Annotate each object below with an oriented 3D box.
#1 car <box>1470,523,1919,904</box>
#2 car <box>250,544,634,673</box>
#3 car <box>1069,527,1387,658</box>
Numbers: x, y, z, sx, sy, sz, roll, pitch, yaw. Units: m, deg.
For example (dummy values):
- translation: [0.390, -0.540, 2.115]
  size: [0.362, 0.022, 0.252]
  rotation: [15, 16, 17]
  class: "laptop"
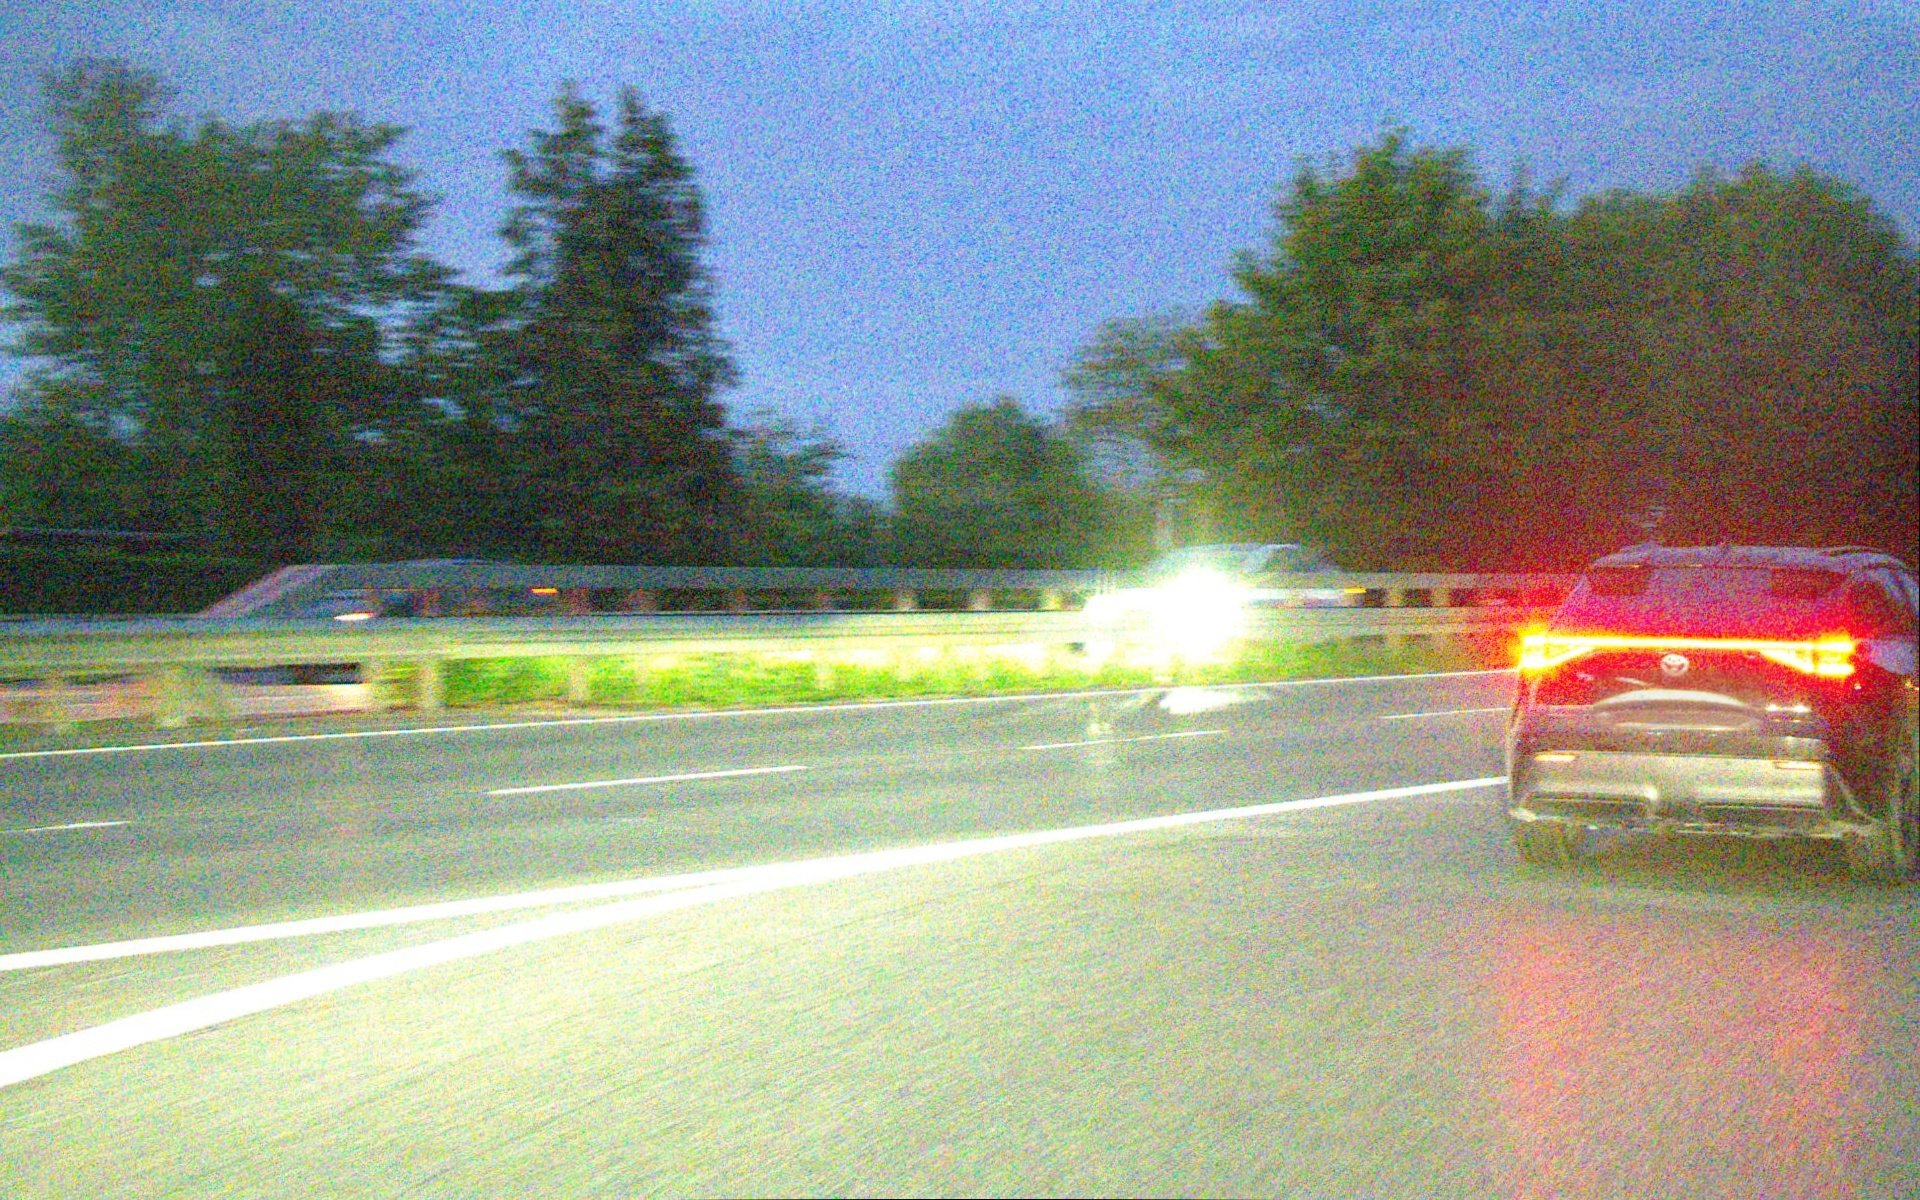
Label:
- translation: [4.139, 0.470, 17.621]
  size: [1.903, 1.614, 4.551]
  rotation: [3, 2, 23]
  class: "car"
- translation: [-6.146, 0.084, 41.362]
  size: [1.997, 1.448, 4.726]
  rotation: [0, 0, 32]
  class: "car"
- translation: [3.479, -0.097, 43.740]
  size: [1.997, 1.564, 4.813]
  rotation: [0, 0, 33]
  class: "car"
